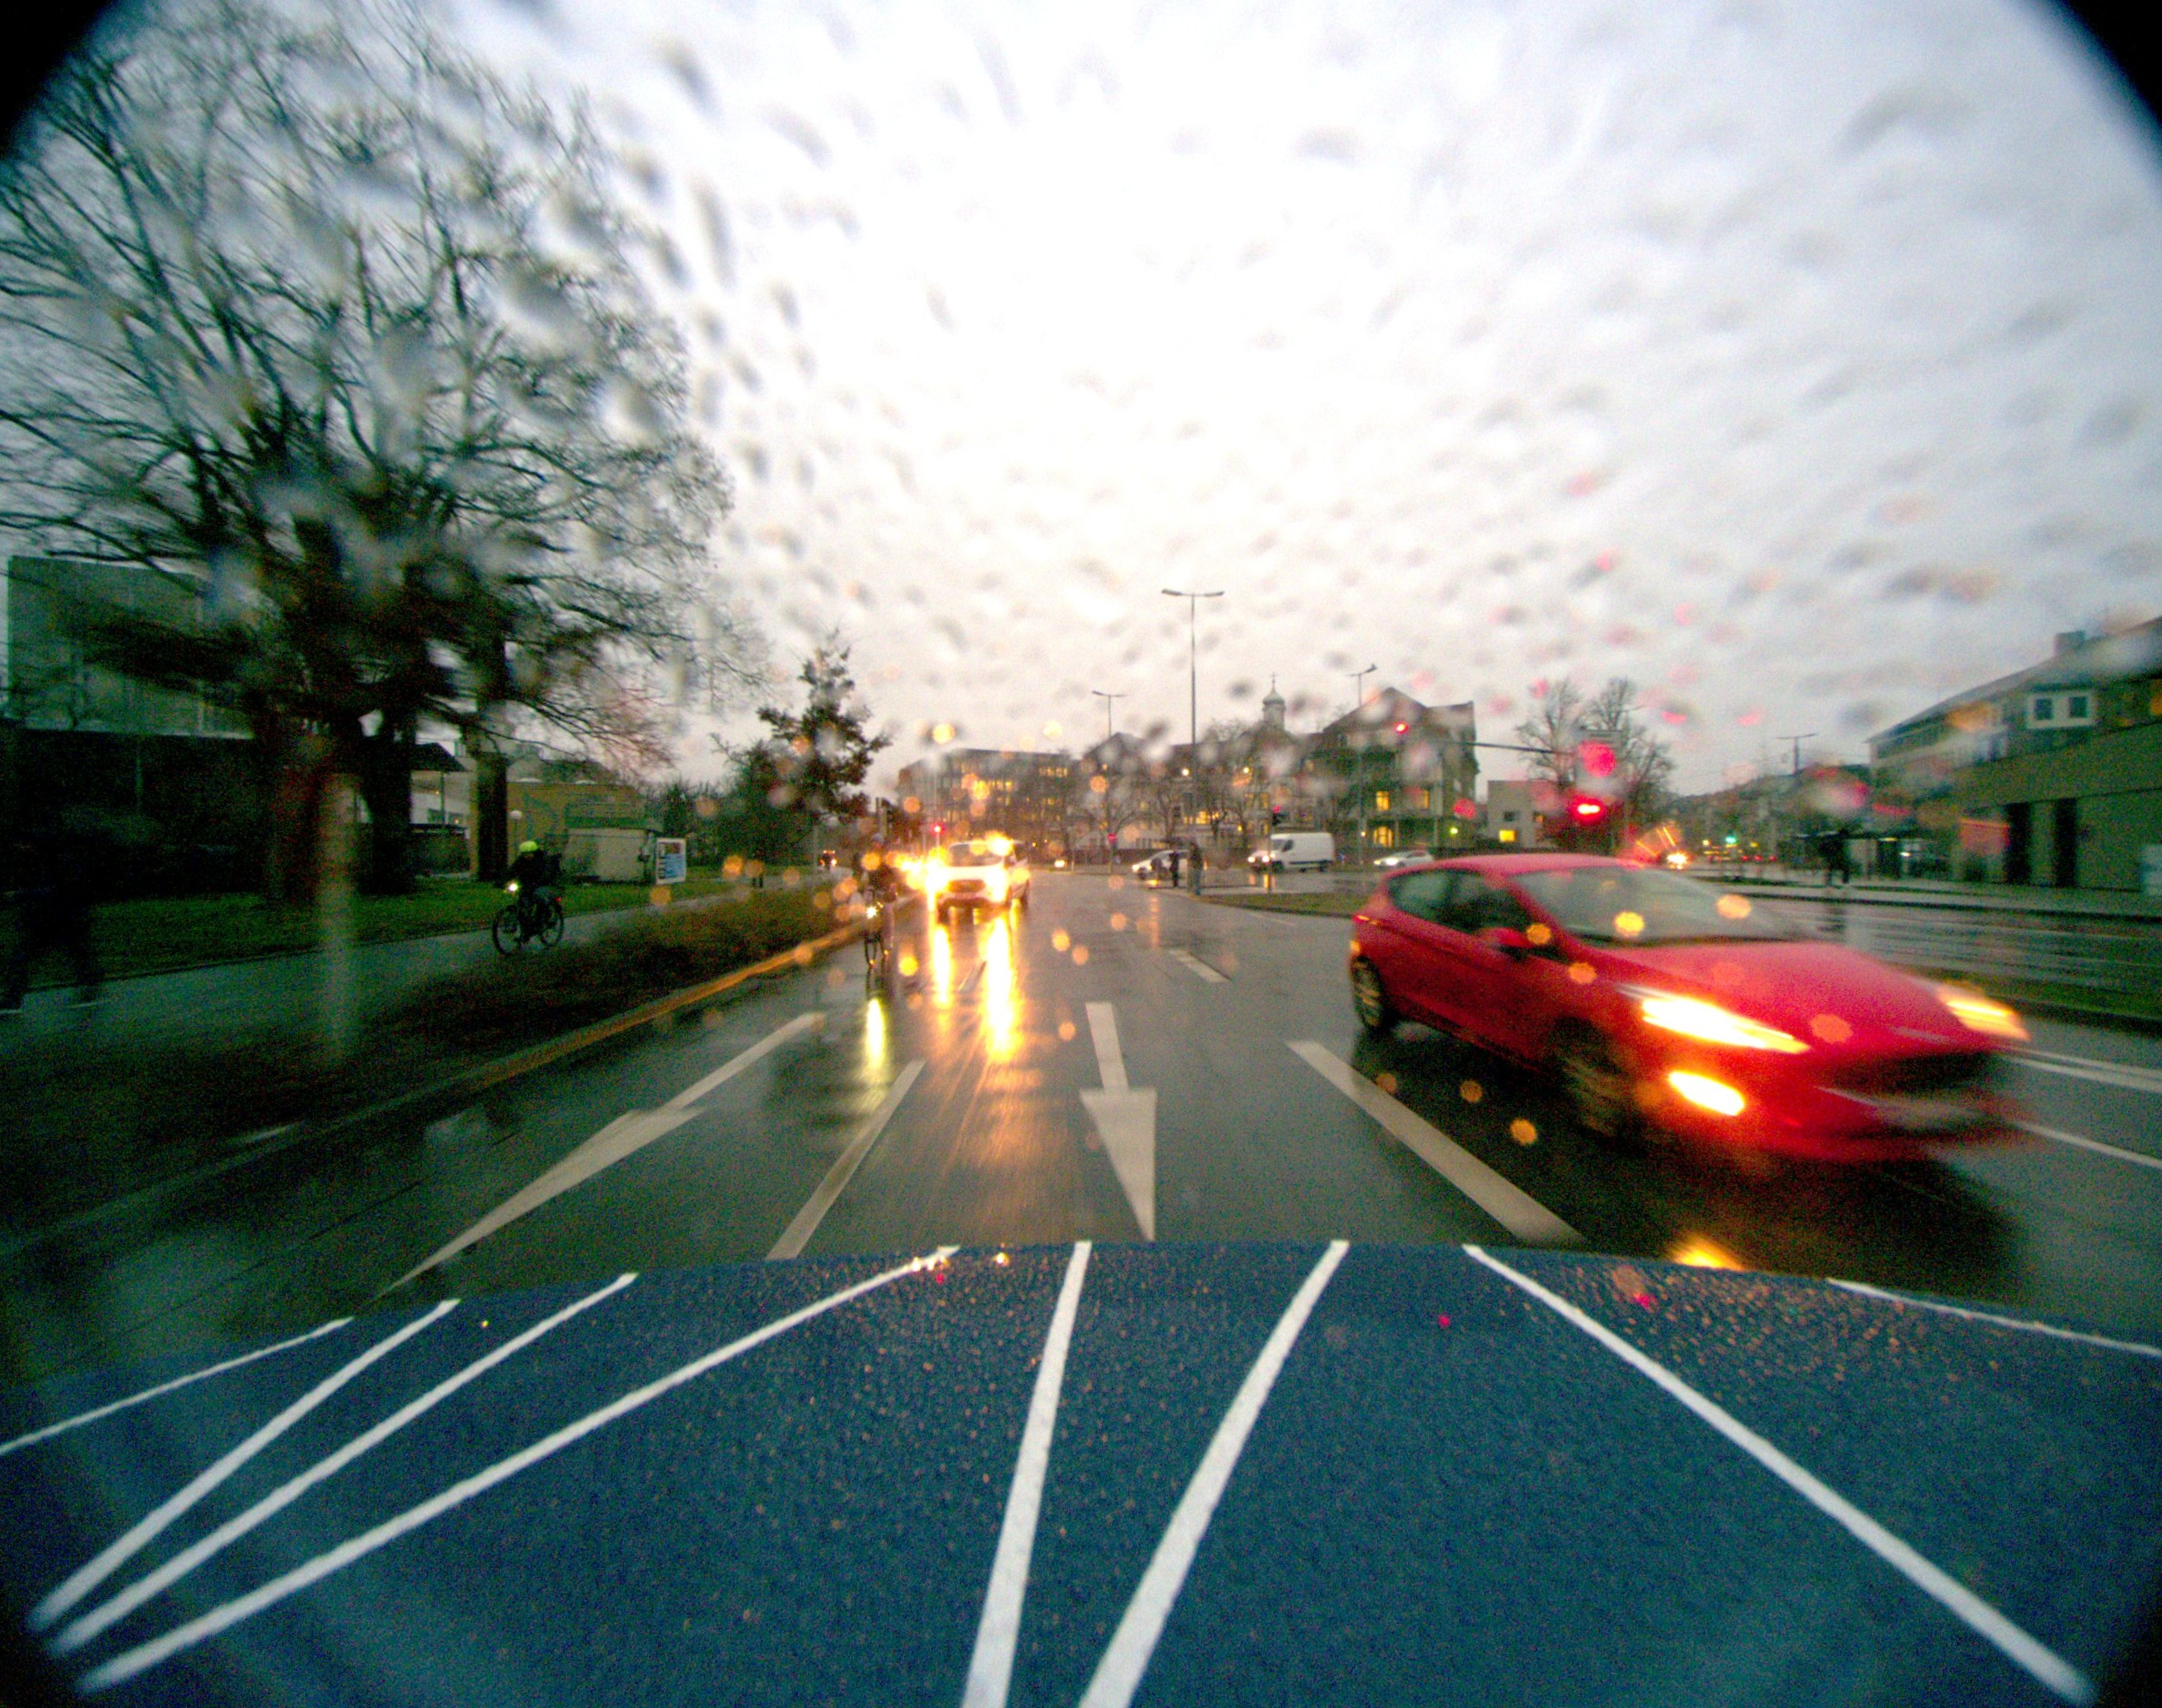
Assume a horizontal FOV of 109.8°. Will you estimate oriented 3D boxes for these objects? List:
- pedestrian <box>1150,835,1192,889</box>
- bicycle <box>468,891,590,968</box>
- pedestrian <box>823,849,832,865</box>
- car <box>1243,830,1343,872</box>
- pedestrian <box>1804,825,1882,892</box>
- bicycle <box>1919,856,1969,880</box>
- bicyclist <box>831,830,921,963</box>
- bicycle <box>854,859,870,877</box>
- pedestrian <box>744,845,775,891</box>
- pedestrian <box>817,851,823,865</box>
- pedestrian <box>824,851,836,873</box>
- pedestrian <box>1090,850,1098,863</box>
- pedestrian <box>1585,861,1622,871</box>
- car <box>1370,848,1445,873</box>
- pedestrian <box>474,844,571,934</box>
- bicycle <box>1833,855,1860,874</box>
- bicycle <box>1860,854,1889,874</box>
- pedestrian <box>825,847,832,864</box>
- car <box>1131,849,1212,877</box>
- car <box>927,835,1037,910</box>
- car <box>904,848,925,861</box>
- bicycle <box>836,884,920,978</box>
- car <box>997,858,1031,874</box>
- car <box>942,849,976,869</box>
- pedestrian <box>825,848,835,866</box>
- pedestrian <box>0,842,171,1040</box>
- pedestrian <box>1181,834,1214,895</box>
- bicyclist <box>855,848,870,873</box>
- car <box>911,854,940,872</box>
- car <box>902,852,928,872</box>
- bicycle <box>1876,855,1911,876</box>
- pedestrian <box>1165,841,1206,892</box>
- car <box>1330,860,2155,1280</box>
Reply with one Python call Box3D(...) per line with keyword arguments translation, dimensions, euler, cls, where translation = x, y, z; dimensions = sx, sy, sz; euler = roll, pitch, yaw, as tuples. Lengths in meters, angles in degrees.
Box3D(translation=(3.492, 0.334, 29.490), dimensions=(1.217, 2.037, 1.033), euler=(0, -2, -33), cls="pedestrian")
Box3D(translation=(-8.409, 1.112, 11.688), dimensions=(0.563, 0.941, 2.093), euler=(0, 1, -7), cls="bicycle")
Box3D(translation=(-28.089, 0.319, 84.282), dimensions=(0.934, 1.815, 0.832), euler=(0, 1, -21), cls="pedestrian")
Box3D(translation=(13.286, -0.154, 47.586), dimensions=(5.876, 2.502, 2.344), euler=(0, -2, -26), cls="car")
Box3D(translation=(21.880, 0.160, 21.844), dimensions=(1.033, 1.846, 1.236), euler=(-1, -2, 13), cls="pedestrian")
Box3D(translation=(40.566, 0.635, 35.750), dimensions=(0.606, 1.098, 2.756), euler=(-2, -1, 28), cls="bicycle")
Box3D(translation=(-3.067, 0.608, 11.498), dimensions=(1.027, 1.872, 1.235), euler=(-2, 1, -3), cls="bicyclist")
Box3D(translation=(-14.690, 0.927, 51.051), dimensions=(0.806, 1.135, 2.211), euler=(3, 0, -11), cls="bicycle")
Box3D(translation=(-12.084, 0.534, 28.596), dimensions=(0.913, 1.677, 0.926), euler=(1, -1, -17), cls="pedestrian")
Box3D(translation=(-37.015, 0.585, 107.633), dimensions=(0.767, 2.002, 0.771), euler=(0, 1, -22), cls="pedestrian")
Box3D(translation=(-21.131, 0.644, 63.964), dimensions=(0.934, 1.815, 0.832), euler=(0, 1, -21), cls="pedestrian")
Box3D(translation=(1.757, 0.331, 102.310), dimensions=(0.810, 1.820, 0.945), euler=(0, 1, -24), cls="pedestrian")
Box3D(translation=(53.603, 1.217, 77.949), dimensions=(3.091, 0.924, 0.951), euler=(-2, -2, 36), cls="pedestrian")
Box3D(translation=(22.345, 0.435, 51.944), dimensions=(4.822, 1.634, 1.835), euler=(0, 1, -23), cls="car")
Box3D(translation=(-8.473, 0.513, 11.568), dimensions=(0.877, 1.309, 0.847), euler=(0, 1, -8), cls="pedestrian")
Box3D(translation=(46.635, 0.653, 46.316), dimensions=(0.645, 1.098, 2.757), euler=(-2, -2, 34), cls="bicycle")
Box3D(translation=(47.566, 0.613, 45.575), dimensions=(0.645, 1.098, 2.757), euler=(-2, -2, 34), cls="bicycle")
Box3D(translation=(-30.425, 0.172, 91.560), dimensions=(0.767, 2.002, 0.909), euler=(0, 1, -22), cls="pedestrian")
Box3D(translation=(5.074, 0.504, 42.446), dimensions=(4.325, 1.495, 1.751), euler=(0, -2, -33), cls="car")
Box3D(translation=(-2.714, 0.570, 22.135), dimensions=(2.136, 1.909, 5.020), euler=(-1, -2, 5), cls="car")
Box3D(translation=(-21.355, 0.064, 97.269), dimensions=(2.002, 1.558, 4.753), euler=(1, 0, -21), cls="car")
Box3D(translation=(-3.062, 1.121, 11.643), dimensions=(0.794, 1.215, 1.903), euler=(-2, 1, -2), cls="bicycle")
Box3D(translation=(-6.102, 1.062, 68.555), dimensions=(1.934, 1.368, 4.490), euler=(0, 1, -21), cls="car")
Box3D(translation=(-10.897, 0.436, 67.742), dimensions=(2.002, 1.739, 4.936), euler=(0, 1, -21), cls="car")
Box3D(translation=(-25.863, 0.337, 78.240), dimensions=(0.934, 1.815, 0.832), euler=(0, 1, -21), cls="pedestrian")
Box3D(translation=(-9.425, 0.743, 6.996), dimensions=(0.810, 1.678, 1.070), euler=(1, 1, -4), cls="pedestrian")
Box3D(translation=(3.878, 0.365, 25.351), dimensions=(0.848, 1.993, 1.109), euler=(-1, -2, -4), cls="pedestrian")
Box3D(translation=(-14.679, 0.448, 51.130), dimensions=(0.806, 1.608, 1.084), euler=(3, 0, -11), cls="bicyclist")
Box3D(translation=(-13.561, 0.782, 66.190), dimensions=(1.776, 1.478, 4.462), euler=(0, 1, -21), cls="car")
Box3D(translation=(-15.778, 0.695, 72.151), dimensions=(2.002, 1.827, 3.993), euler=(0, 0, -19), cls="car")
Box3D(translation=(42.675, 0.616, 39.919), dimensions=(0.645, 1.098, 2.757), euler=(-2, -2, 34), cls="bicycle")
Box3D(translation=(3.882, 0.488, 28.168), dimensions=(1.037, 1.846, 1.068), euler=(0, -2, -36), cls="pedestrian")
Box3D(translation=(3.244, 0.836, 4.877), dimensions=(1.705, 1.473, 3.870), euler=(-3, 0, -5), cls="car")
